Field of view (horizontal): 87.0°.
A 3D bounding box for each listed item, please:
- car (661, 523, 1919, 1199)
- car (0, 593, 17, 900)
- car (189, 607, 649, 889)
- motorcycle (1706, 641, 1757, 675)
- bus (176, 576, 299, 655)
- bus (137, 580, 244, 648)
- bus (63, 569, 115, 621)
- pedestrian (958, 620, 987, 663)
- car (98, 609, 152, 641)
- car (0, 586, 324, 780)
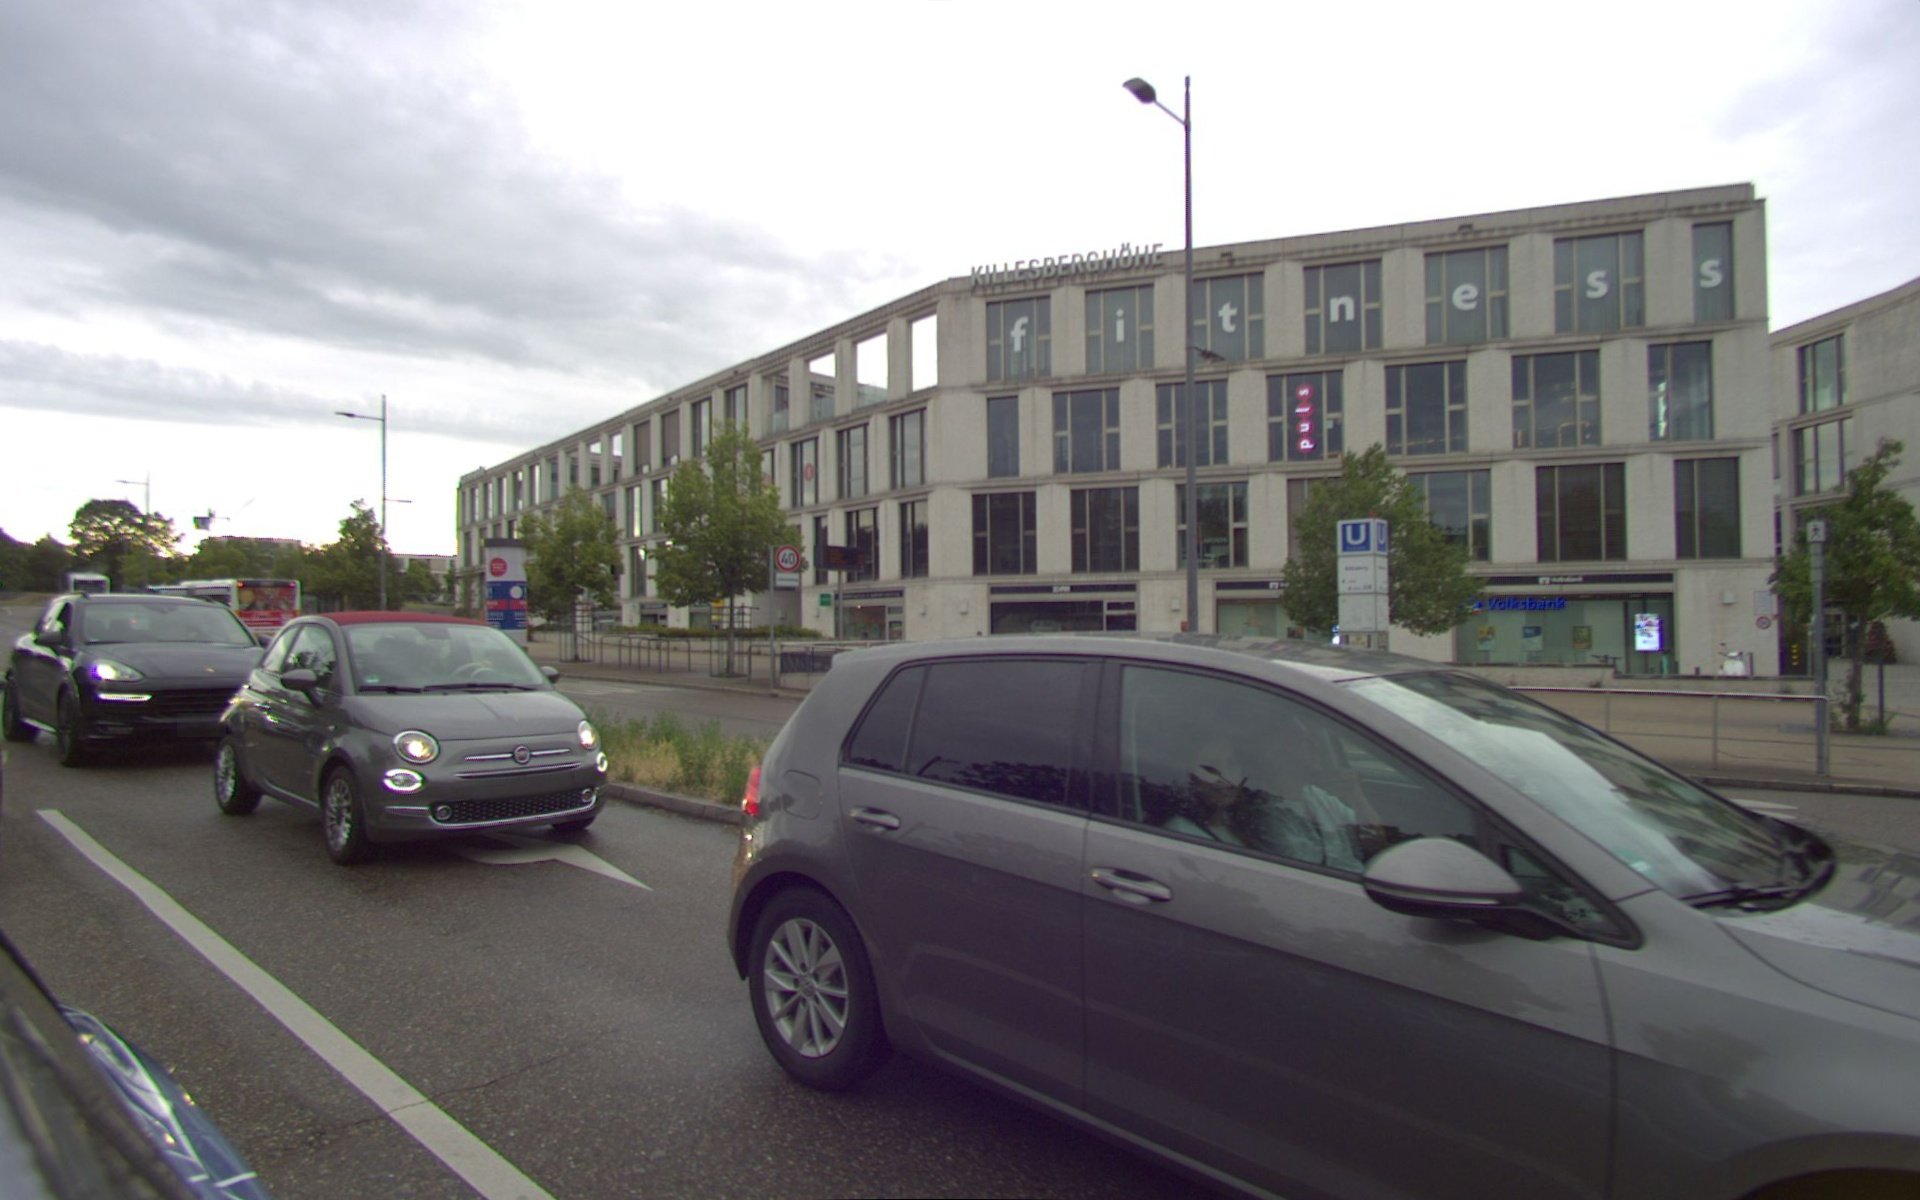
[{"bbox_3d":[1.201,0.662,2.709,4.375,1.492,1.797,-1,-1,41],"label":"car"},{"bbox_3d":[-6.967,0.717,5.774,4.766,1.476,1.876,0,0,41],"label":"car"},{"bbox_3d":[-3.905,0.811,7.109,3.502,1.492,1.611,-1,-1,39],"label":"car"},{"bbox_3d":[18.774,1.404,24.638,0.517,0.746,1.098,0,0,9],"label":"motorcycle"},{"bbox_3d":[-32.673,0.639,45.566,9.207,3.236,2.722,0,0,43],"label":"bus"},{"bbox_3d":[-39.675,0.651,52.001,9.912,3.205,2.658,0,0,43],"label":"bus"},{"bbox_3d":[-77.902,-0.389,90.755,2.717,4.185,19.384,0,0,-38],"label":"bus"},{"bbox_3d":[0.467,1.561,38.254,0.907,1.617,0.759,0,-1,19],"label":"pedestrian"},{"bbox_3d":[-48.844,1.425,59.201,3.998,1.800,1.843,0,0,41],"label":"car"},{"bbox_3d":[-8.806,0.744,10.912,4.613,1.671,1.910,-1,-1,39],"label":"car"}]
